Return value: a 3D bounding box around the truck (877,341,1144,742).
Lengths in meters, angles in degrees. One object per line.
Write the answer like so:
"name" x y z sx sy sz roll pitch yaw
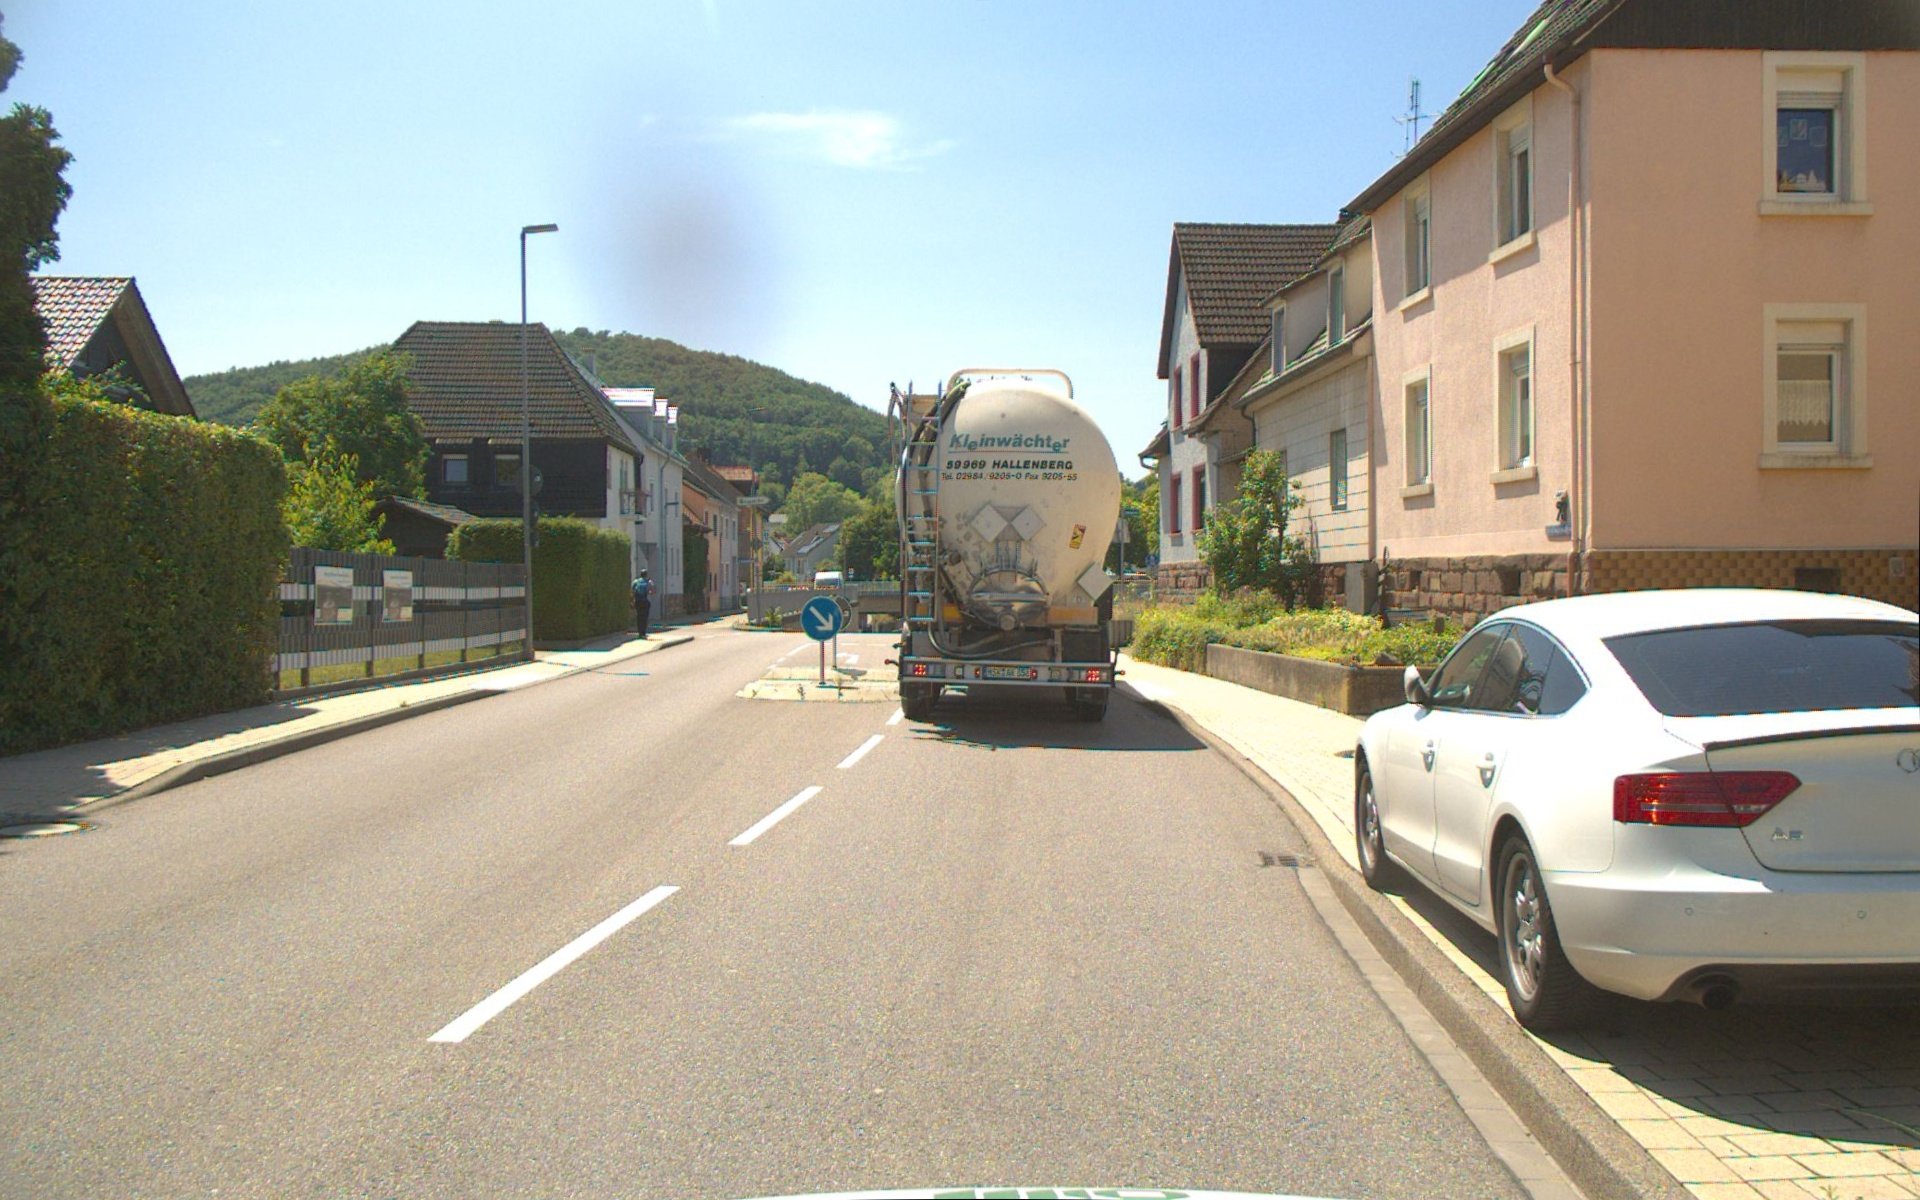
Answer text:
"truck" 0.262 -0.639 22.634 2.695 4.127 10.882 1 0 -3

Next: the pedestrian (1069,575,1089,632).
"pedestrian" 3.687 0.107 51.129 0.559 1.723 0.721 1 -1 1

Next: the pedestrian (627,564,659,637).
"pedestrian" -8.137 0.011 42.524 0.698 1.855 0.897 1 -1 -6

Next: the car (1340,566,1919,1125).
"car" 2.762 0.657 6.627 1.719 1.442 4.635 -2 -1 5
